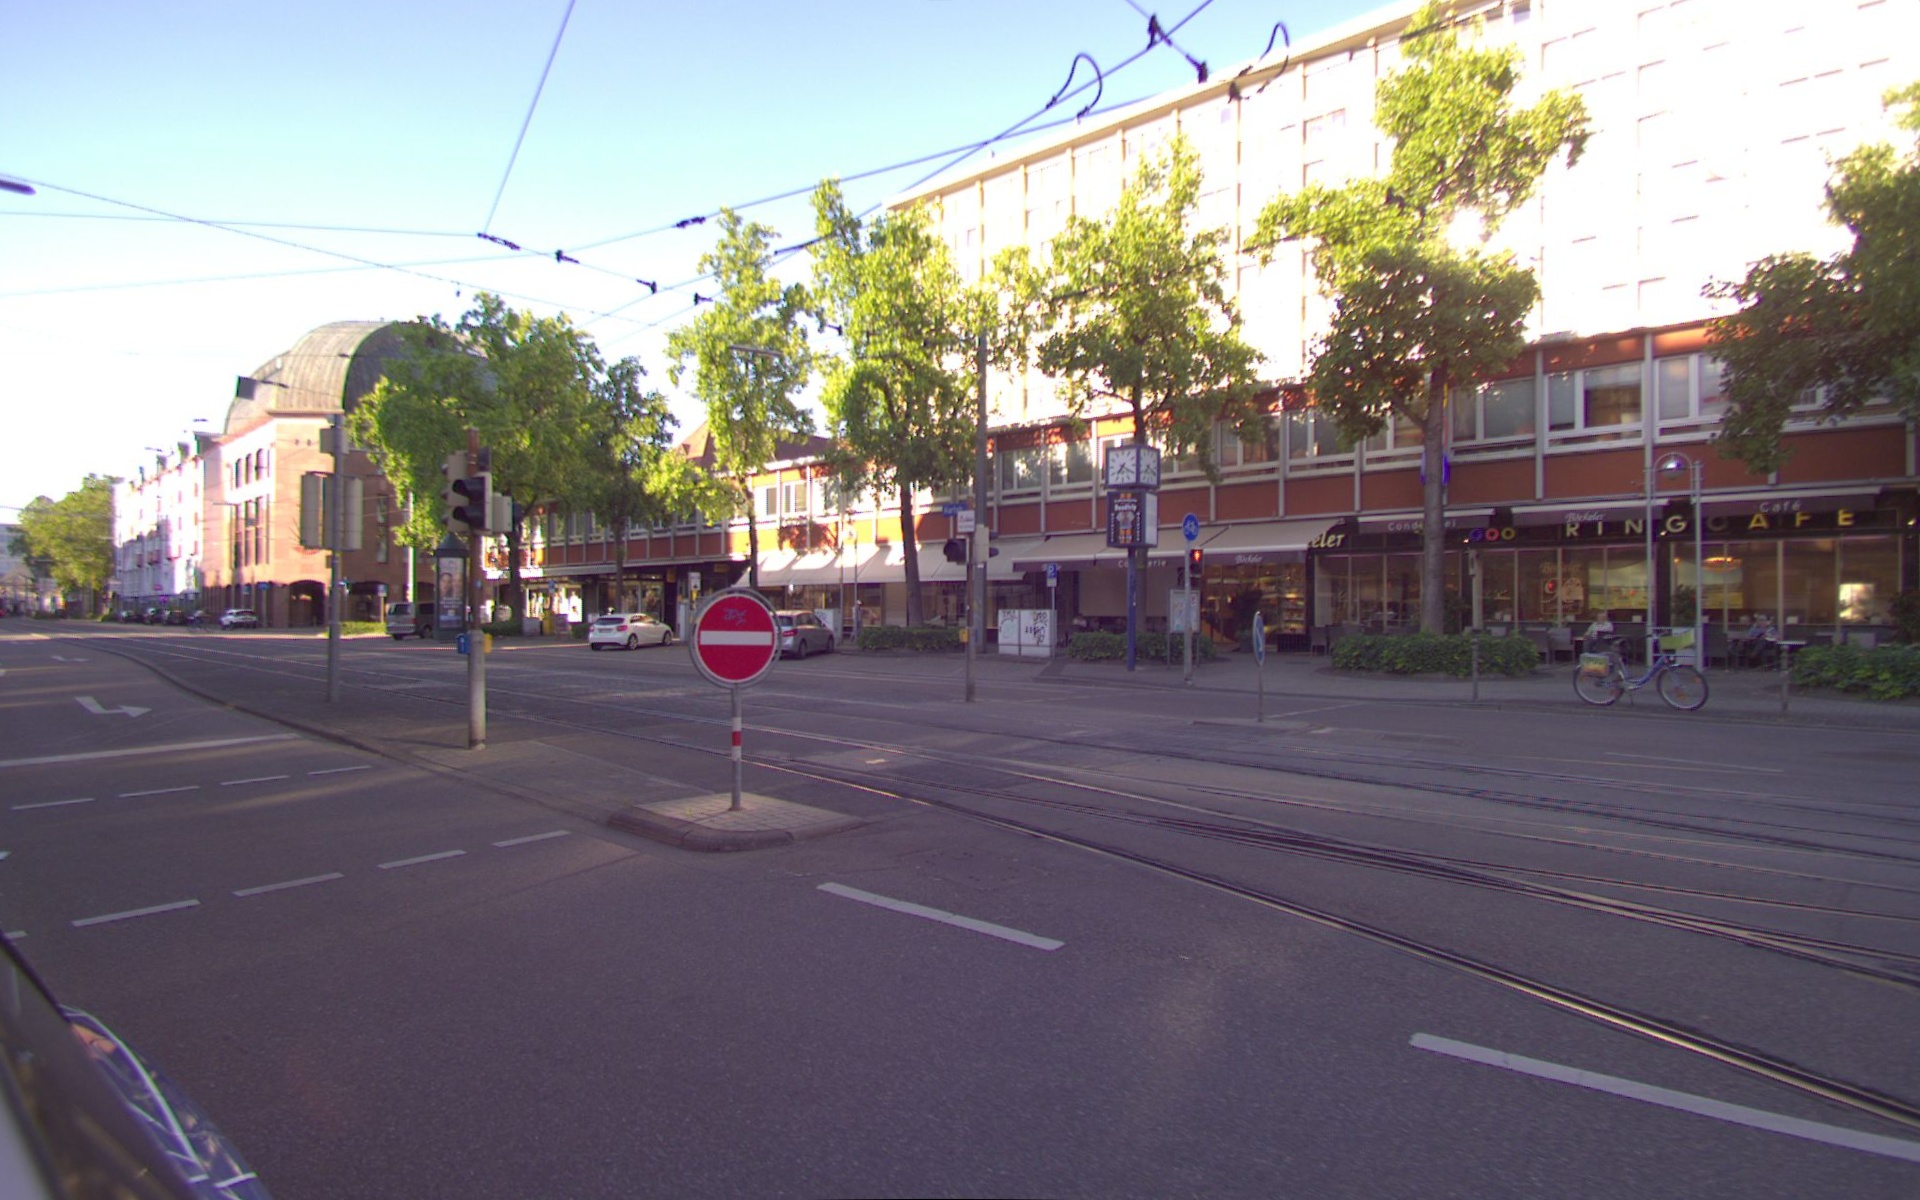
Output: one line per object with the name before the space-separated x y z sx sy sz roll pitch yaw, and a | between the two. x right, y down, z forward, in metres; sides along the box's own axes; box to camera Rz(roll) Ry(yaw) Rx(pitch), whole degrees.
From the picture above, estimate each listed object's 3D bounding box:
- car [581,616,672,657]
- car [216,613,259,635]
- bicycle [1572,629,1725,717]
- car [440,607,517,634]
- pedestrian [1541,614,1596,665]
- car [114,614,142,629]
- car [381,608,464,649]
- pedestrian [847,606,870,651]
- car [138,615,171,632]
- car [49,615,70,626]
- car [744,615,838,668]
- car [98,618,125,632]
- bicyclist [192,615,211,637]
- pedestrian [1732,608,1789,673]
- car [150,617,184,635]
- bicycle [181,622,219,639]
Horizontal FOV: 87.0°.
car | -13.454 1.455 41.087 1.779 1.486 3.985 0 0 12
car | -56.205 1.850 78.714 3.999 1.615 1.885 0 0 42
bicycle | 10.570 1.086 15.600 0.573 1.244 1.859 -1 0 -41
car | -36.741 1.556 77.313 1.999 2.029 4.918 -1 -1 41
pedestrian | 15.301 0.977 25.463 0.826 1.272 0.910 1 -1 -31
car | -94.379 2.448 114.783 3.999 1.615 1.939 0 0 42
car | -28.127 1.461 53.096 1.890 1.979 3.989 -1 0 9
pedestrian | -4.028 1.119 39.988 0.626 1.782 0.771 1 0 -30
car | -80.636 2.320 101.343 3.999 1.615 1.939 0 0 42
car | -136.439 3.082 153.325 3.999 1.615 1.939 0 0 42
car | -5.572 1.323 33.795 1.779 1.566 3.985 0 0 12
car | -105.653 3.094 126.005 3.999 1.615 1.939 0 0 42
bicyclist | -50.062 1.716 66.812 0.752 1.433 0.673 0 -1 -3
pedestrian | 17.957 0.895 22.699 0.923 1.407 0.891 1 -2 -45
car | -76.102 2.456 97.078 3.999 1.615 1.939 0 0 42
bicycle | -50.156 2.010 66.807 2.009 1.100 0.673 0 -1 -2
